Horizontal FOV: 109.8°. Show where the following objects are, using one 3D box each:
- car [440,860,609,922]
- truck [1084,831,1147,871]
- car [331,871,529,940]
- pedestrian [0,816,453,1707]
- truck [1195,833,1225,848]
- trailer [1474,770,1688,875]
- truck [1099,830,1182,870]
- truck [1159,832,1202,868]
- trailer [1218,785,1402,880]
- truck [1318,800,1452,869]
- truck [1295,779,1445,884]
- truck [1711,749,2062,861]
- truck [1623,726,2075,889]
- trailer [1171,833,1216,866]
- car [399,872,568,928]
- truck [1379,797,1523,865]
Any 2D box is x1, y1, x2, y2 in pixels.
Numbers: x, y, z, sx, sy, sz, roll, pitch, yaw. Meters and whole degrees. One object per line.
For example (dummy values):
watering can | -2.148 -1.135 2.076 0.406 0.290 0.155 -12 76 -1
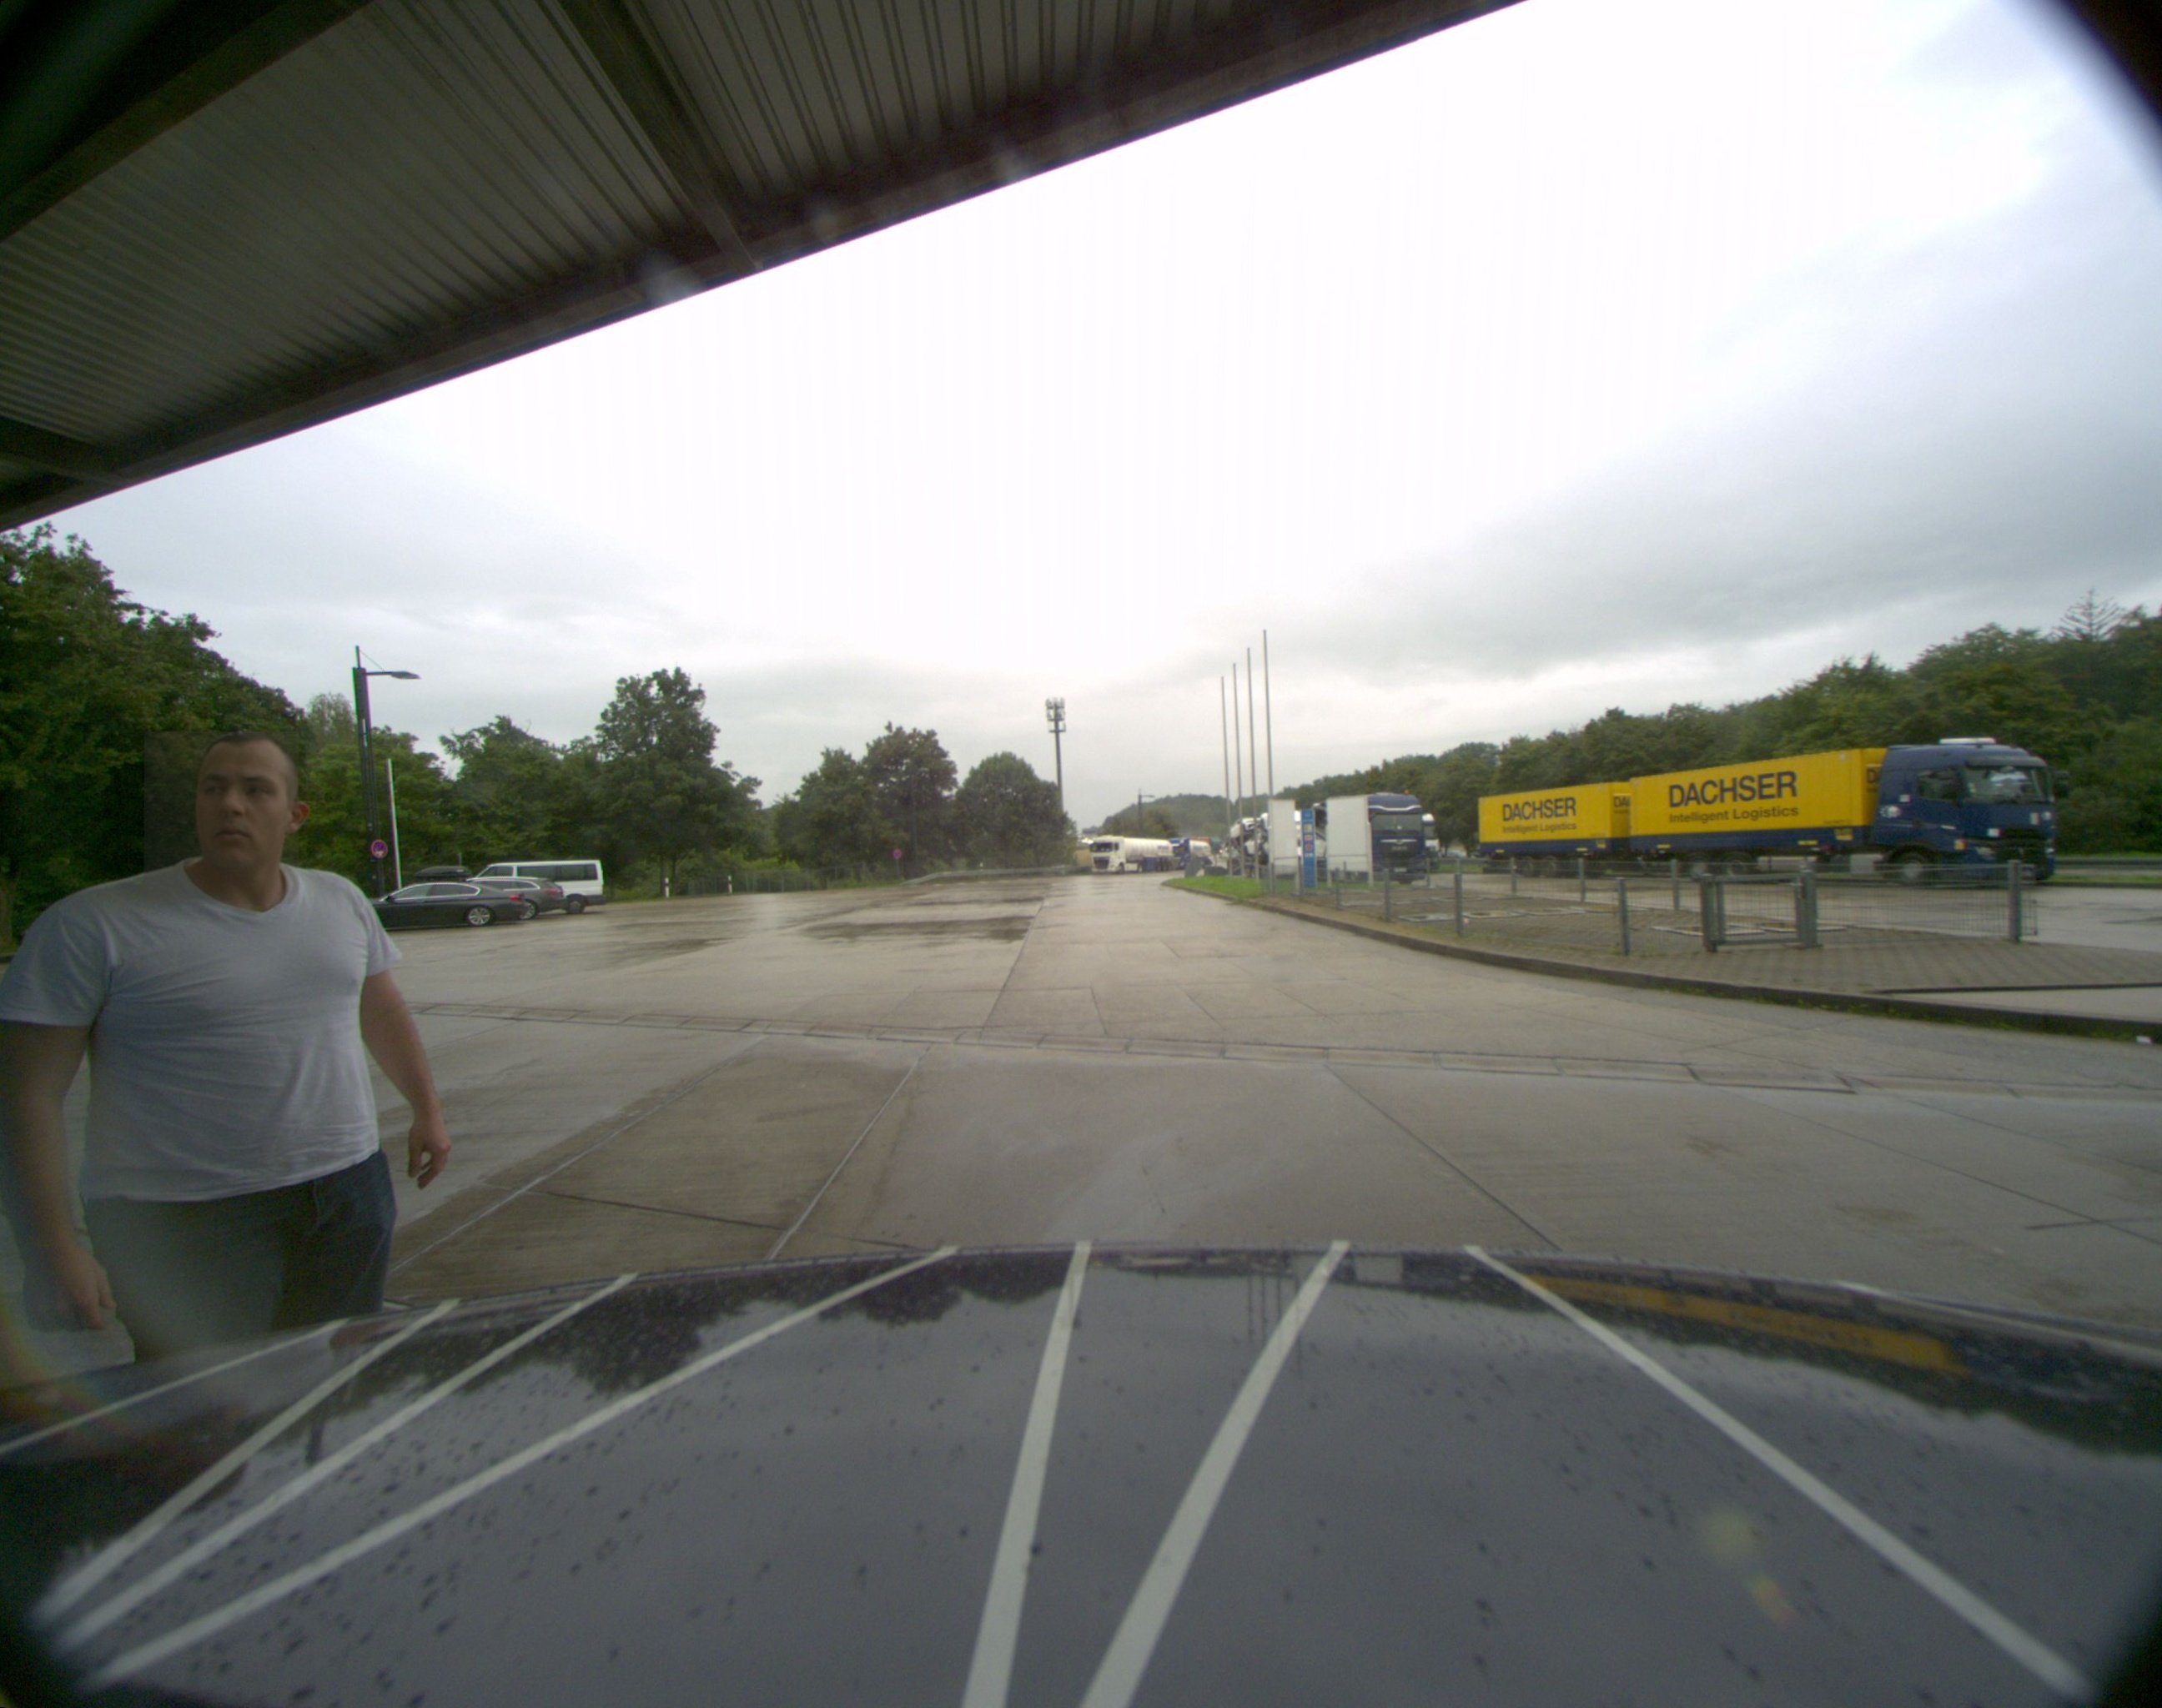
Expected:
car | -20.269 1.283 27.902 4.780 1.974 2.010 -2 0 -36
truck | 3.312 -0.351 71.427 3.243 3.544 6.114 -2 1 31
car | -19.128 1.451 22.631 4.187 1.720 1.995 -2 0 -33
pedestrian | -1.765 0.842 1.426 0.493 1.800 0.634 -2 2 10
truck | 32.062 -3.371 189.278 3.251 3.543 14.655 0 1 -7
trailer | 21.778 -1.271 33.980 2.774 4.009 8.853 -2 1 -8
truck | 6.195 -0.517 76.338 3.243 3.544 11.995 -2 1 31
truck | 11.324 -0.519 85.723 3.045 3.745 6.475 -2 1 23
trailer | 11.369 -0.996 40.928 2.990 4.009 16.597 -2 1 -7
truck | 19.753 -1.216 50.420 2.991 4.009 10.464 -2 1 -10
truck | 12.297 -0.920 33.236 2.990 4.009 7.259 -2 1 -7
truck | 33.767 -1.844 32.920 2.991 4.009 10.464 -2 1 -10
truck | 23.055 -1.211 24.297 2.774 4.009 10.632 -2 1 -8
trailer | 13.664 -0.645 91.430 2.898 3.618 10.586 -2 1 22
car | -19.660 1.455 25.272 4.187 1.547 1.995 -2 0 -33
truck | 24.356 -1.399 50.944 2.991 4.009 10.464 -2 1 -10
